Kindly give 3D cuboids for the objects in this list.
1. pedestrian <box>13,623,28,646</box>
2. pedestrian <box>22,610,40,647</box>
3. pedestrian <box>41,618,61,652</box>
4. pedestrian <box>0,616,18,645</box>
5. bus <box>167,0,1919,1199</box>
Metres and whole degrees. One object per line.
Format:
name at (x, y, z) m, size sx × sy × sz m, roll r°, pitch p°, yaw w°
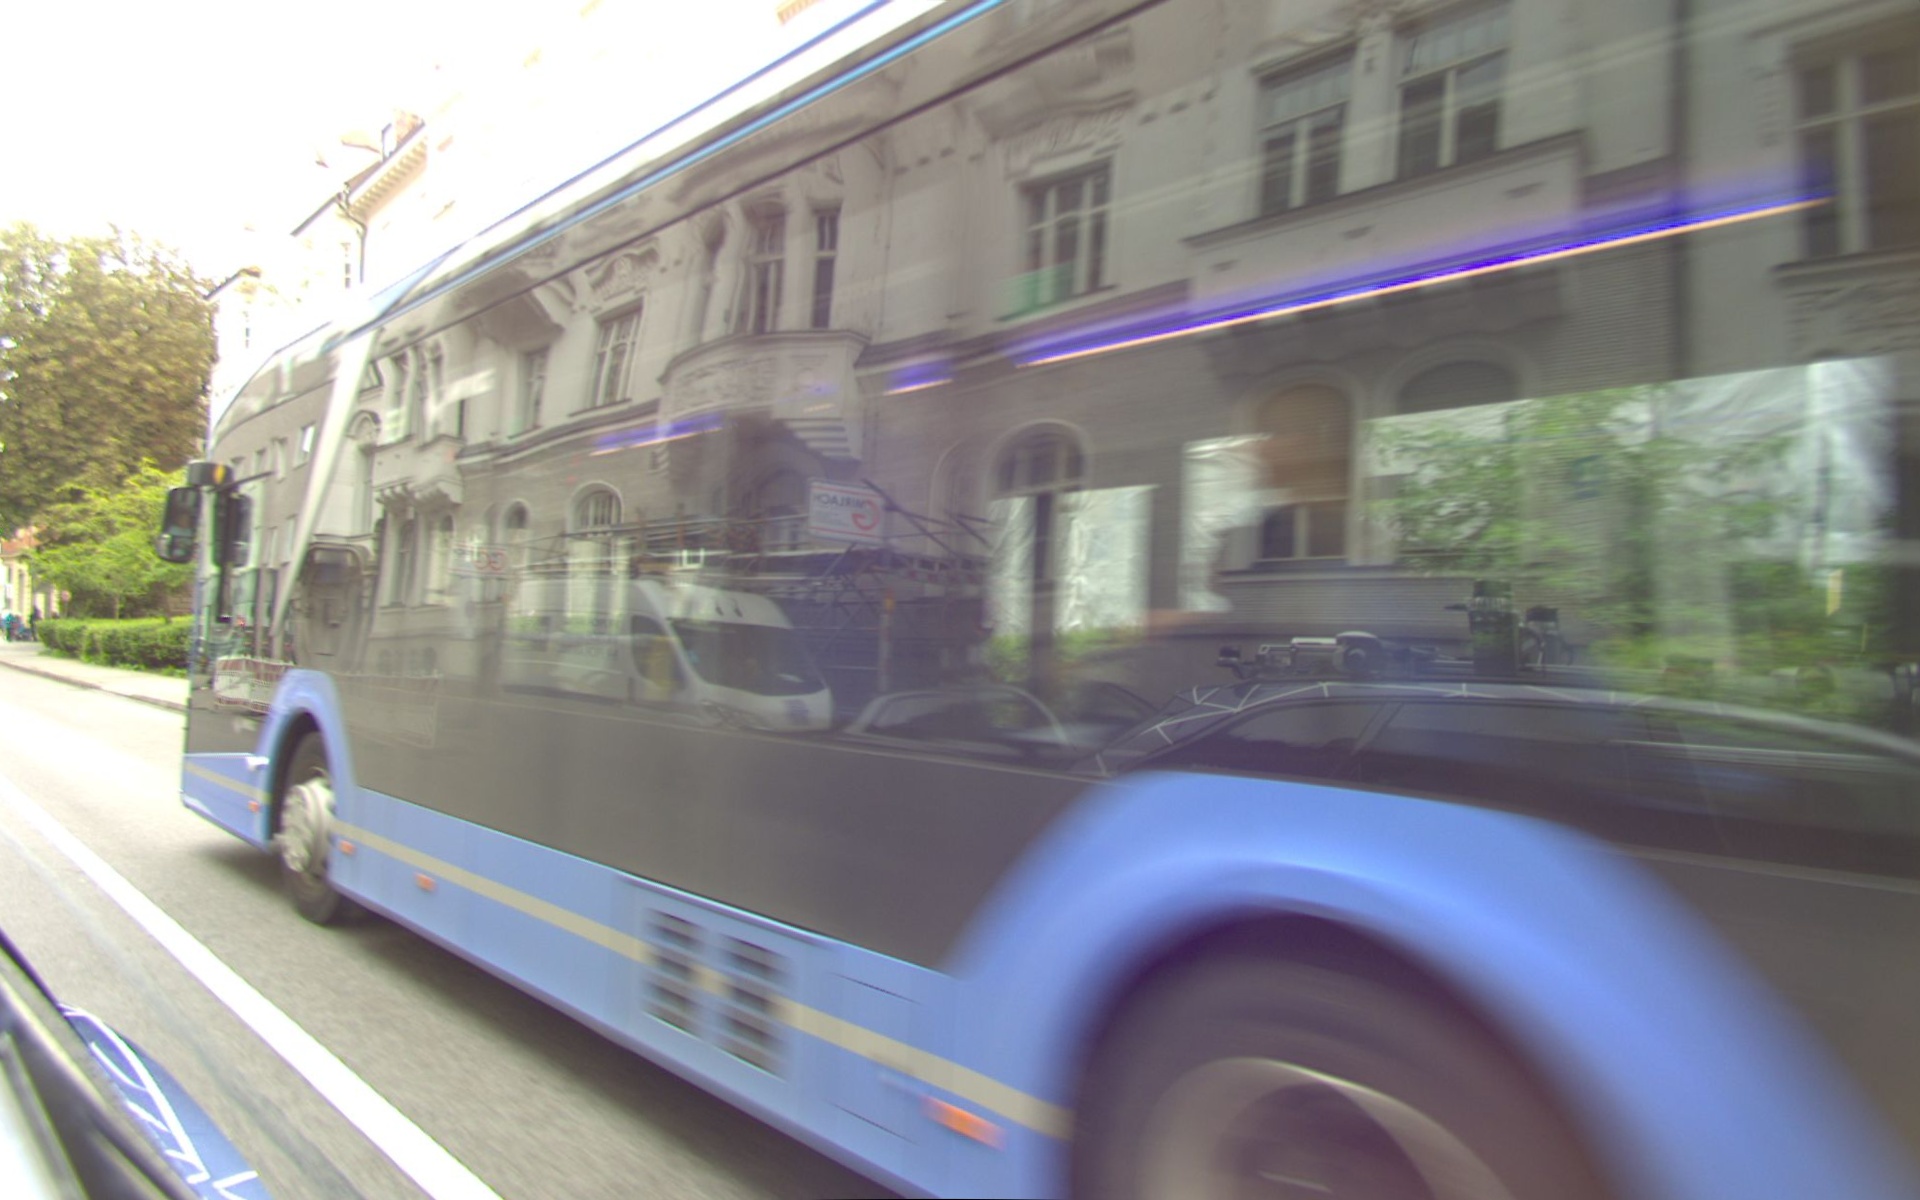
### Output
pedestrian at (-51.583, 1.917, 55.568) m, size 0.577 × 1.253 × 0.539 m, roll -1°, pitch -2°, yaw 41°
pedestrian at (-49.282, 1.506, 53.681) m, size 0.661 × 1.971 × 0.617 m, roll -1°, pitch -3°, yaw 41°
pedestrian at (-44.530, 1.723, 49.566) m, size 0.661 × 1.633 × 0.617 m, roll -1°, pitch -2°, yaw 41°
pedestrian at (-52.121, 1.678, 55.445) m, size 0.661 × 1.601 × 0.617 m, roll -1°, pitch -2°, yaw 41°
bus at (2.625, -0.213, 1.732) m, size 18.053 × 3.236 × 3.137 m, roll -1°, pitch -4°, yaw 42°
